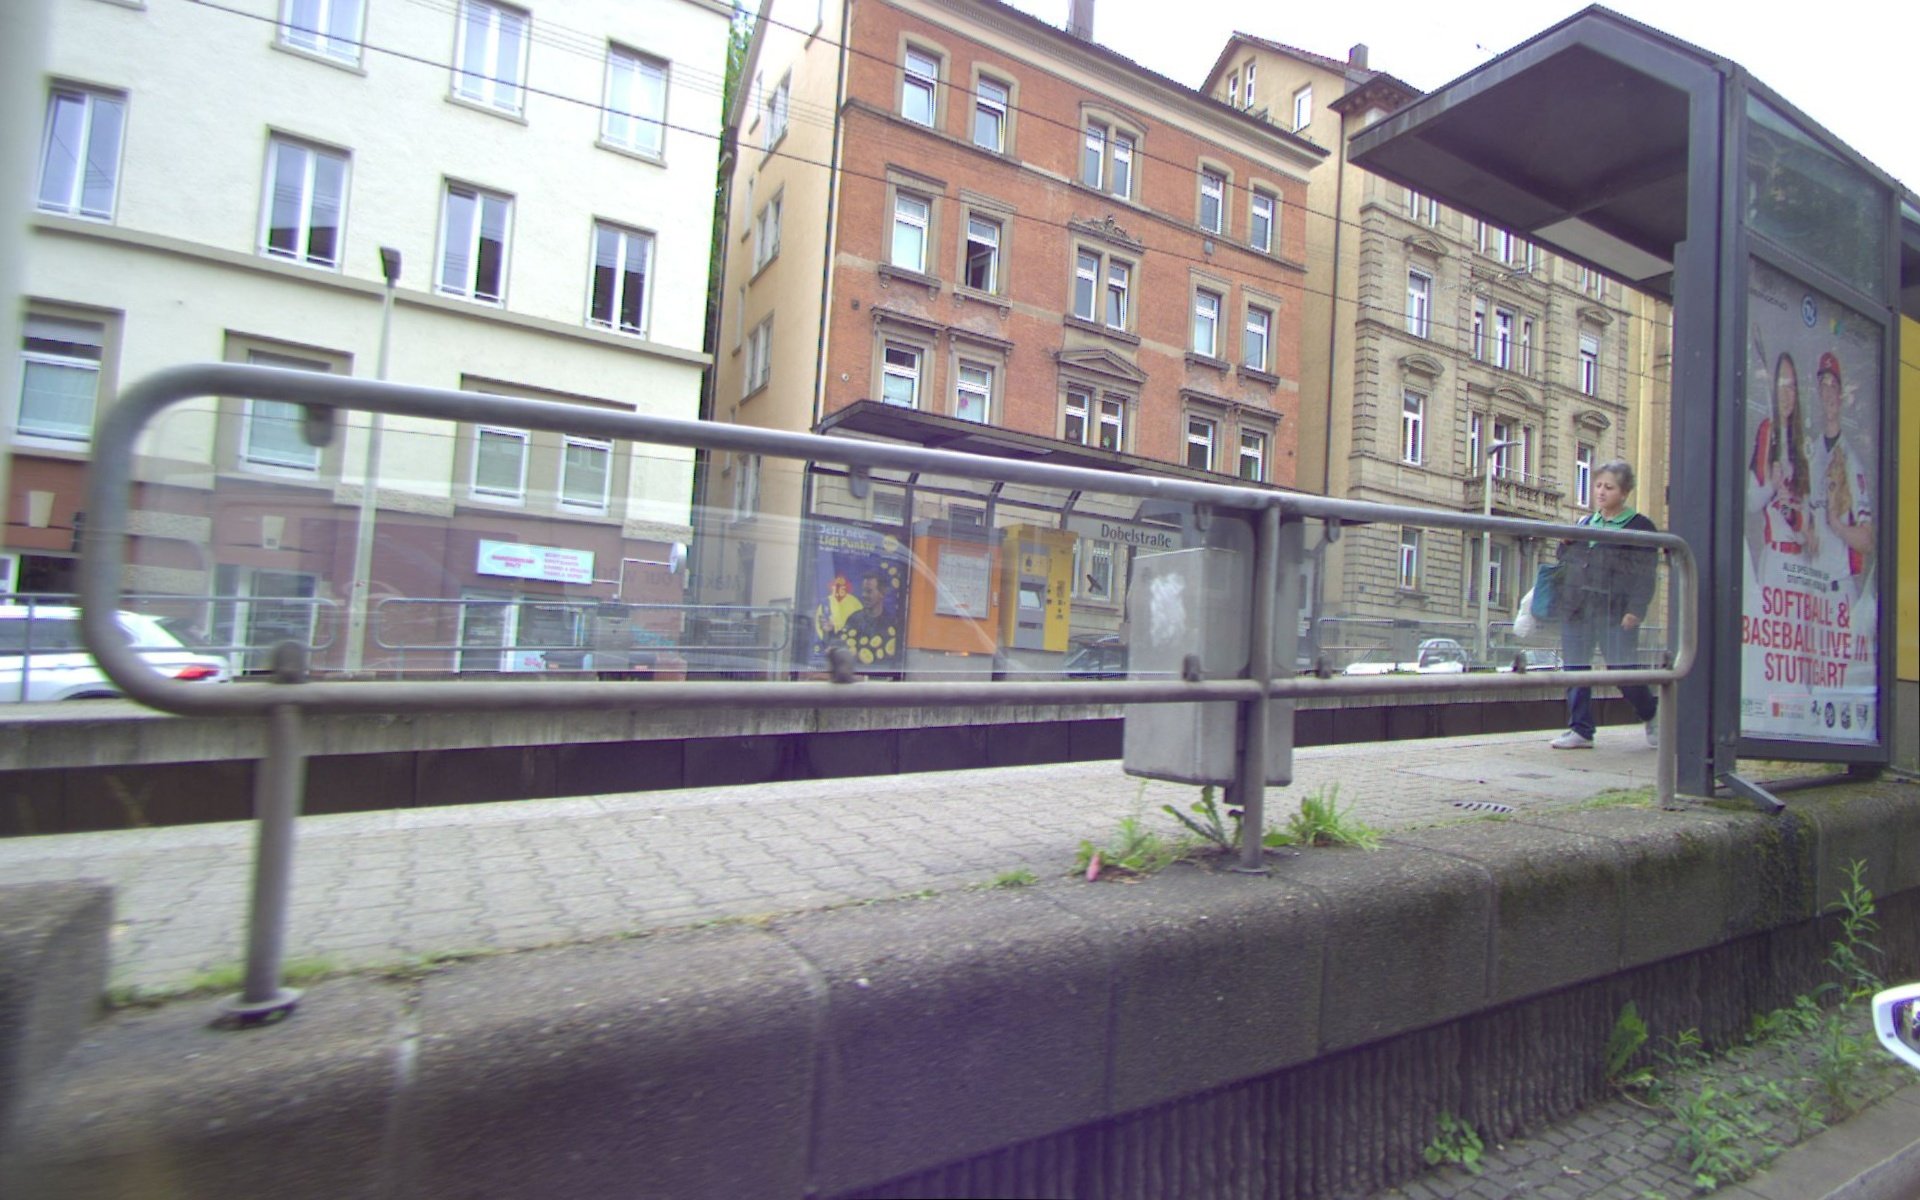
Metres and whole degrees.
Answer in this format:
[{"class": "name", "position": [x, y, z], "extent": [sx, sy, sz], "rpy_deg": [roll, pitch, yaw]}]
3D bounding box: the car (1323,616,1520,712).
[{"class": "car", "position": [9.452, 1.251, 20.514], "extent": [3.818, 1.788, 1.814], "rpy_deg": [2, -2, -30]}]

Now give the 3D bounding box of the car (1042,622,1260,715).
[{"class": "car", "position": [3.998, 1.357, 20.900], "extent": [4.328, 1.756, 1.838], "rpy_deg": [1, -2, -30]}]

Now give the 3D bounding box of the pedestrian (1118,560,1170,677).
[{"class": "pedestrian", "position": [2.553, 0.263, 13.943], "extent": [0.534, 1.583, 0.460], "rpy_deg": [1, -1, -29]}]

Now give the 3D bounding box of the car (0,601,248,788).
[{"class": "car", "position": [-9.870, 0.899, 9.986], "extent": [4.328, 1.756, 1.838], "rpy_deg": [1, -2, -30]}]

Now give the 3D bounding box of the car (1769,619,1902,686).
[{"class": "car", "position": [32.106, 1.905, 36.817], "extent": [5.389, 2.335, 1.985], "rpy_deg": [2, -2, -29]}]

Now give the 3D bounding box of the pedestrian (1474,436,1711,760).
[{"class": "pedestrian", "position": [3.361, 0.006, 5.355], "extent": [0.894, 1.544, 0.761], "rpy_deg": [1, -2, -33]}]
